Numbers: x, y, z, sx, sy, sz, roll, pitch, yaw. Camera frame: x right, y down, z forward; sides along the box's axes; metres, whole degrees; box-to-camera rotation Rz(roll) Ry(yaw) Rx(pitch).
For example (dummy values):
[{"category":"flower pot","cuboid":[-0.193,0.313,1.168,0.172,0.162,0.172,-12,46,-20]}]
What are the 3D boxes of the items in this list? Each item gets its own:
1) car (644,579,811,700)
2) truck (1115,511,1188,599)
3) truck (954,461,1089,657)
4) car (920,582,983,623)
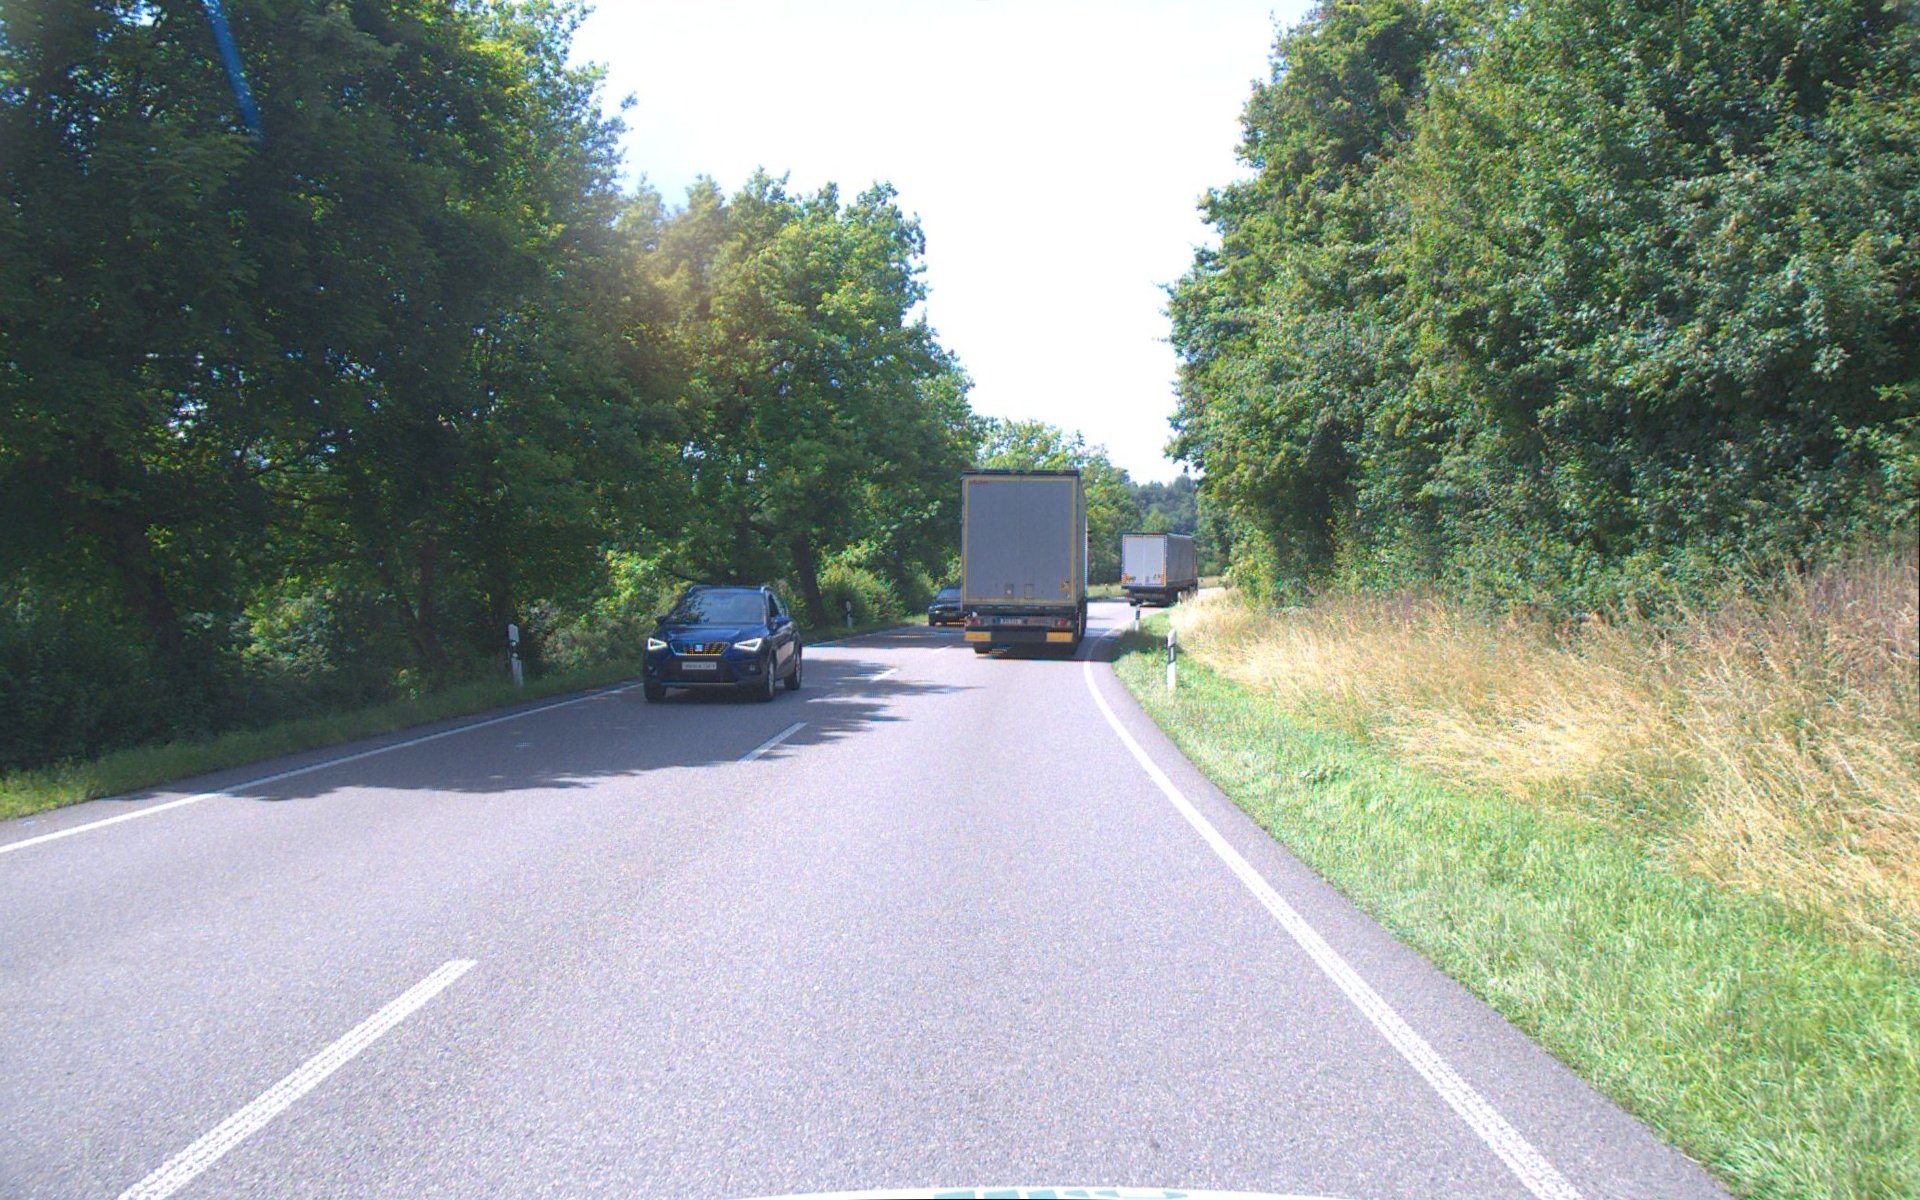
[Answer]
[{"category":"car","cuboid":[-3.186,0.502,23.395,1.635,1.558,3.959,-1,0,2]},{"category":"truck","cuboid":[11.643,-2.644,98.948,3.038,4.787,16.605,-1,1,11]},{"category":"truck","cuboid":[1.883,-1.040,42.679,2.742,4.139,15.336,0,1,5]},{"category":"car","cuboid":[-0.287,0.063,61.309,1.721,1.457,4.273,0,0,8]}]
